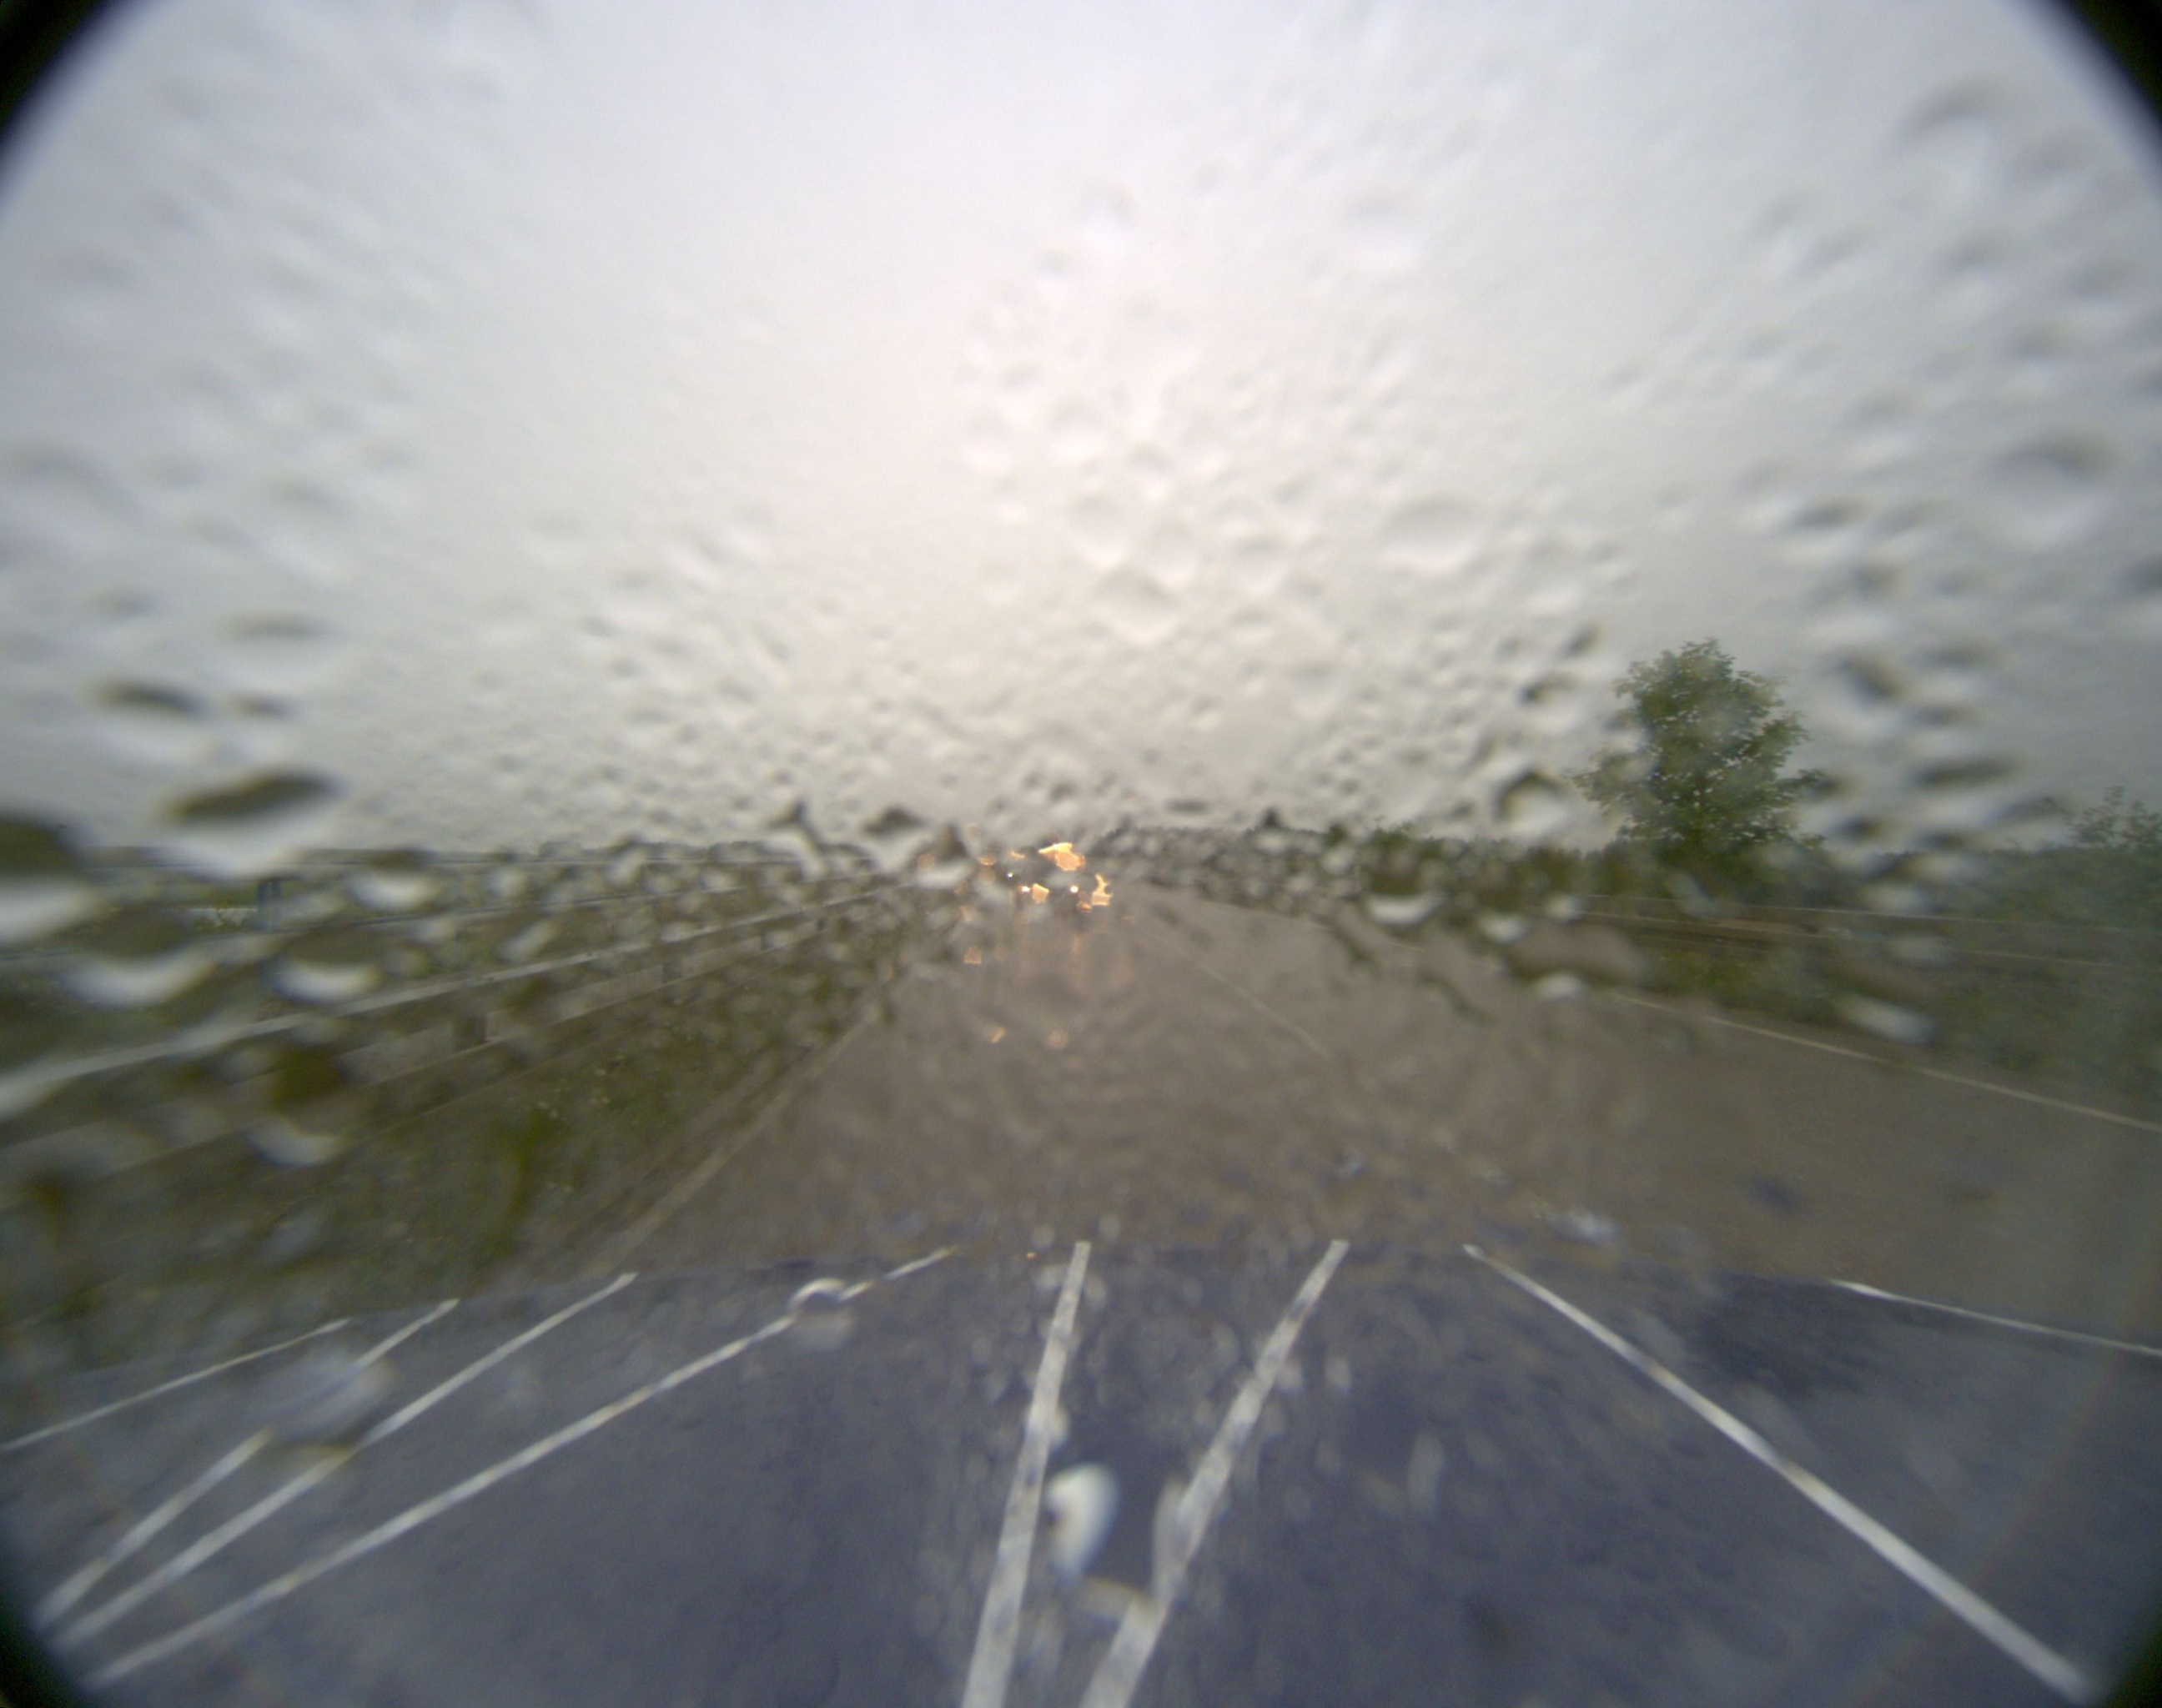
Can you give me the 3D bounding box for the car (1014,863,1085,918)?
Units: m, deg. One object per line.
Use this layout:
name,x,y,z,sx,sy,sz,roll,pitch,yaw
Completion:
car,-0.887,0.974,21.736,1.819,1.382,4.068,-1,0,-2

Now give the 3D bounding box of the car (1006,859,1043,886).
car,-3.047,0.944,40.040,1.820,1.382,4.067,0,0,-6

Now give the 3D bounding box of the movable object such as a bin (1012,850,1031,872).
movable object such as a bin,-9.770,1.171,124.437,2.758,3.425,4.639,1,0,-9

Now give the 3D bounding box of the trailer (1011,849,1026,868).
trailer,-13.679,1.075,166.041,2.827,3.946,13.729,1,-1,-7

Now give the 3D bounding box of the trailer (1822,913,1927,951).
trailer,94.776,9.220,90.663,14.382,4.193,2.878,1,-1,-19
